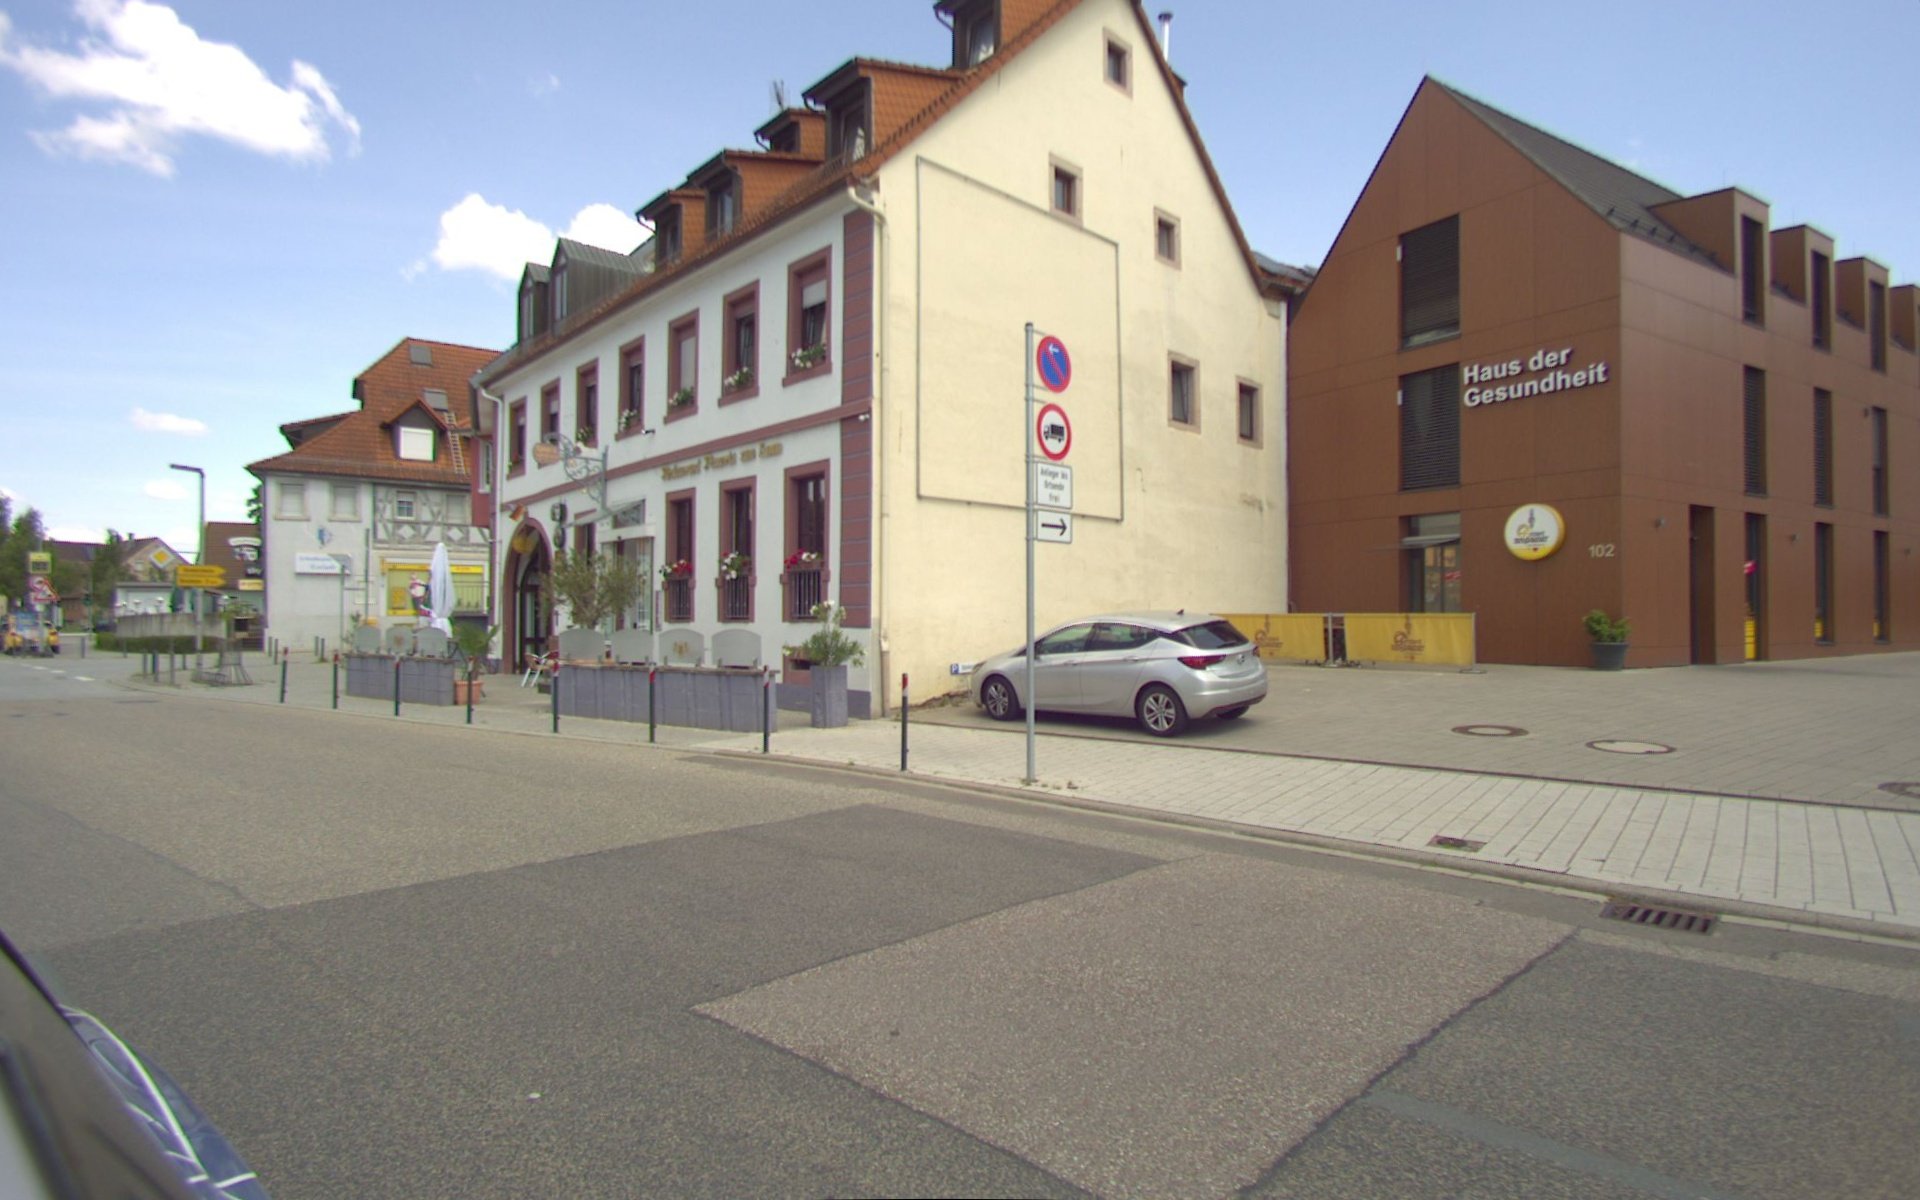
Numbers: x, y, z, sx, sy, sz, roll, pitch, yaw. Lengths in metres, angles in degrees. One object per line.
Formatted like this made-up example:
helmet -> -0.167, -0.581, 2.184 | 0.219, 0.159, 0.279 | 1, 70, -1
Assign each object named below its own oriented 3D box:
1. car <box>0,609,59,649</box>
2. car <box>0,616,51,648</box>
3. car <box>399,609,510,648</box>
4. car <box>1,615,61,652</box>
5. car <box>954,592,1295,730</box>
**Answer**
car -> -49.107, 1.535, 53.498 | 1.961, 2.005, 5.053 | 2, -2, -39
car -> -44.247, 1.525, 47.871 | 1.794, 1.434, 4.542 | 2, -2, -42
car -> -21.130, 1.186, 42.371 | 3.889, 1.530, 1.777 | 1, -2, -38
car -> -39.531, 1.414, 43.050 | 3.964, 1.486, 1.649 | -2, -3, 45
car -> 2.054, 0.717, 13.570 | 4.278, 1.503, 1.738 | -1, 1, 45
